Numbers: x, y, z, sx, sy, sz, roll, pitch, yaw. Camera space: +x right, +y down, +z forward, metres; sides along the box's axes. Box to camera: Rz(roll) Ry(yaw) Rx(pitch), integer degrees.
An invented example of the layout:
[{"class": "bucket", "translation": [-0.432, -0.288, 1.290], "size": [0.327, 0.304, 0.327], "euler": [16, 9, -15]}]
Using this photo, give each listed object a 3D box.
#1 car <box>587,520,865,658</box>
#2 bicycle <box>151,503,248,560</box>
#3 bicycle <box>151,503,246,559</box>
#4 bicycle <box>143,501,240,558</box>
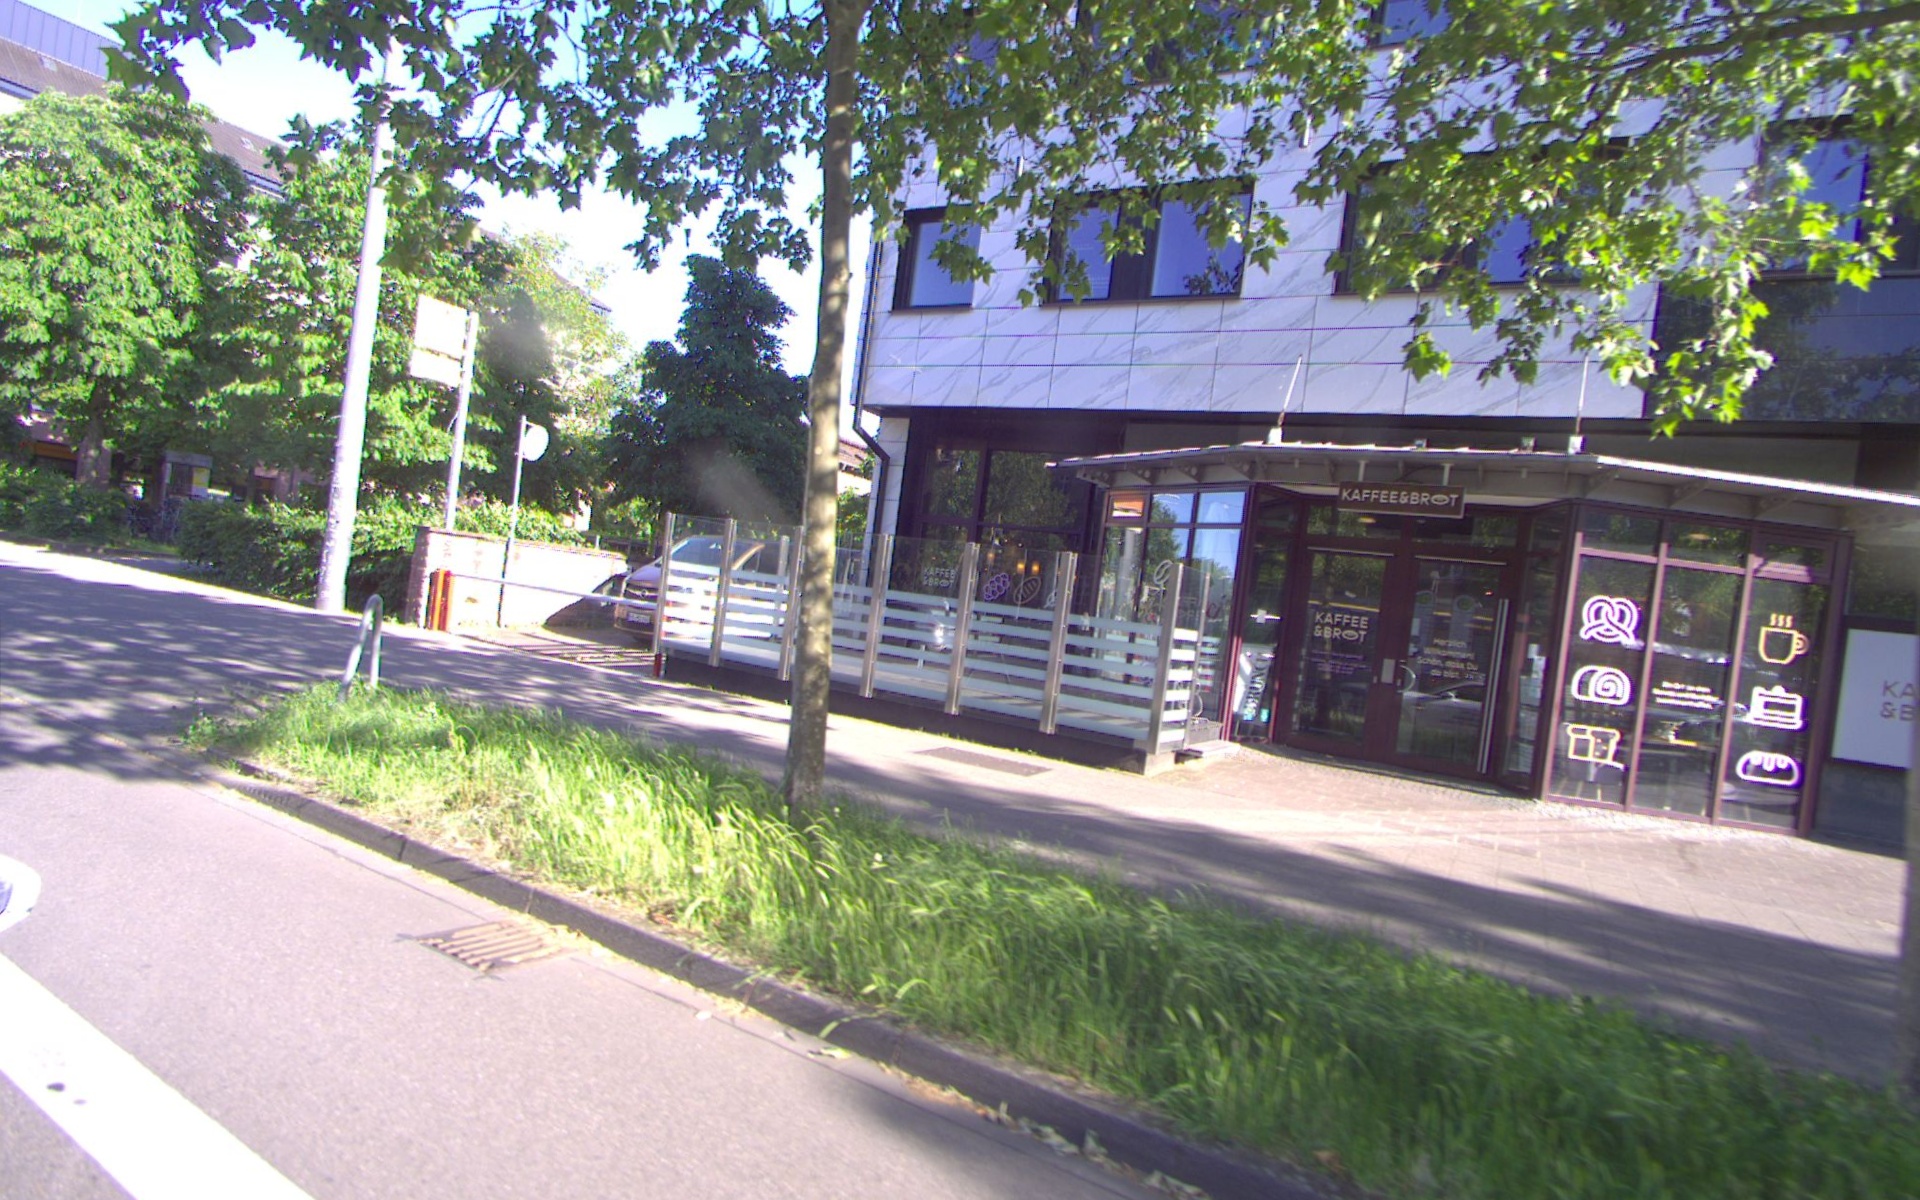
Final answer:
[{"class": "car", "translation": [-3.985, -0.130, 18.055], "size": [1.881, 2.011, 4.899], "euler": [7, 2, 30]}, {"class": "bicycle", "translation": [-21.136, -1.893, 27.996], "size": [0.564, 1.331, 1.997], "euler": [7, 1, 33]}, {"class": "bicycle", "translation": [-21.471, -1.927, 28.409], "size": [0.564, 1.331, 1.997], "euler": [7, 1, 33]}, {"class": "bicycle", "translation": [-21.170, -1.920, 27.754], "size": [0.564, 1.331, 1.997], "euler": [7, 1, 33]}]
